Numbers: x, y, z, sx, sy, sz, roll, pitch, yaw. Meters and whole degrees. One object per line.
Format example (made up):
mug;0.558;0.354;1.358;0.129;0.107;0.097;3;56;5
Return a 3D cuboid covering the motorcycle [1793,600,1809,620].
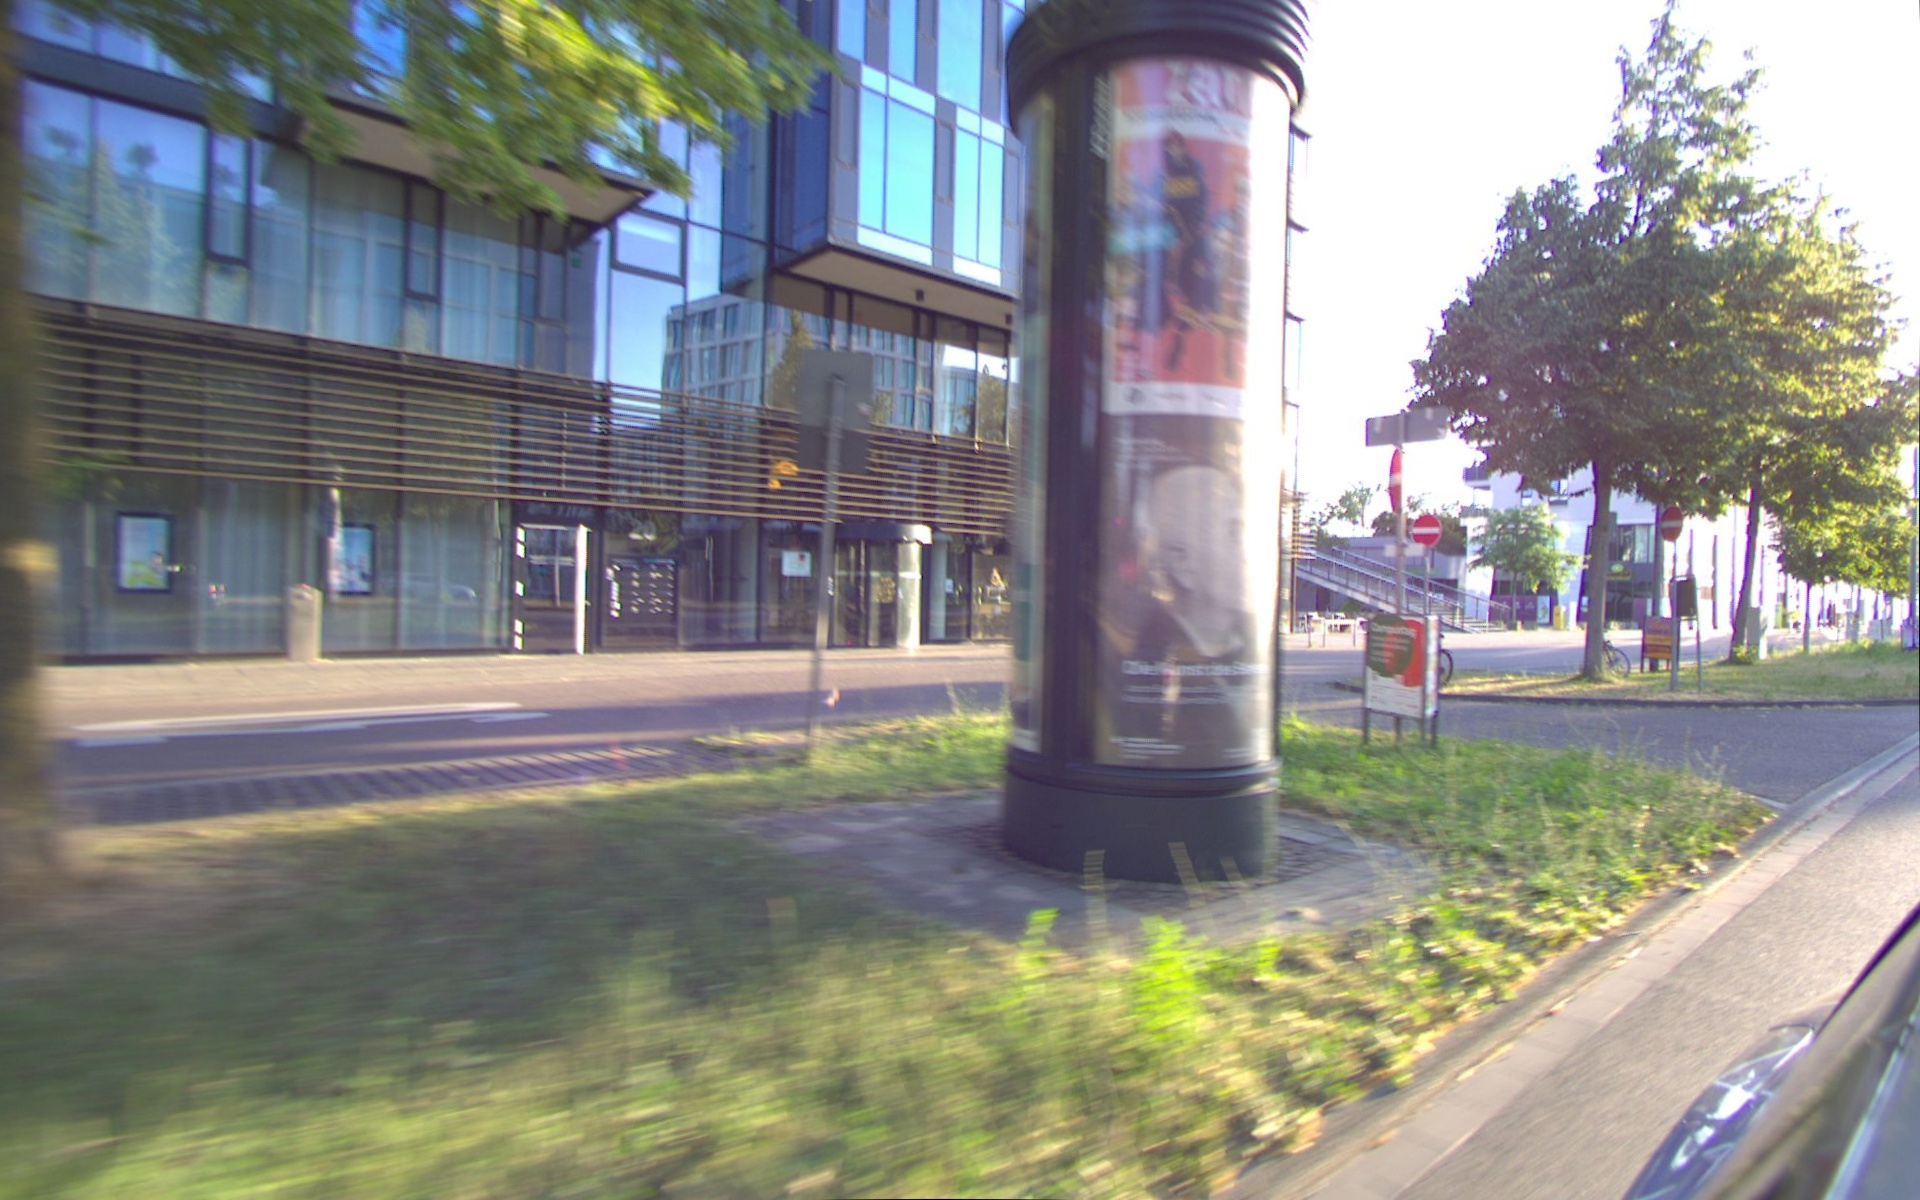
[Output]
motorcycle;72.590;0.850;87.357;2.086;1.720;0.689;1;0;-42

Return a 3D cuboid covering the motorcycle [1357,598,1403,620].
motorcycle;21.459;0.465;51.713;2.637;1.056;0.734;1;0;-30

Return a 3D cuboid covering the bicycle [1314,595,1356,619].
bicycle;20.440;0.394;55.128;2.400;1.252;0.734;1;0;-30

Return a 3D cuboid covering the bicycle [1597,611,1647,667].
bicycle;12.760;0.729;19.489;0.578;1.007;1.662;2;1;41

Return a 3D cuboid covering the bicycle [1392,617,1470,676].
bicycle;8.215;0.787;17.721;0.355;0.922;1.726;1;1;-8
